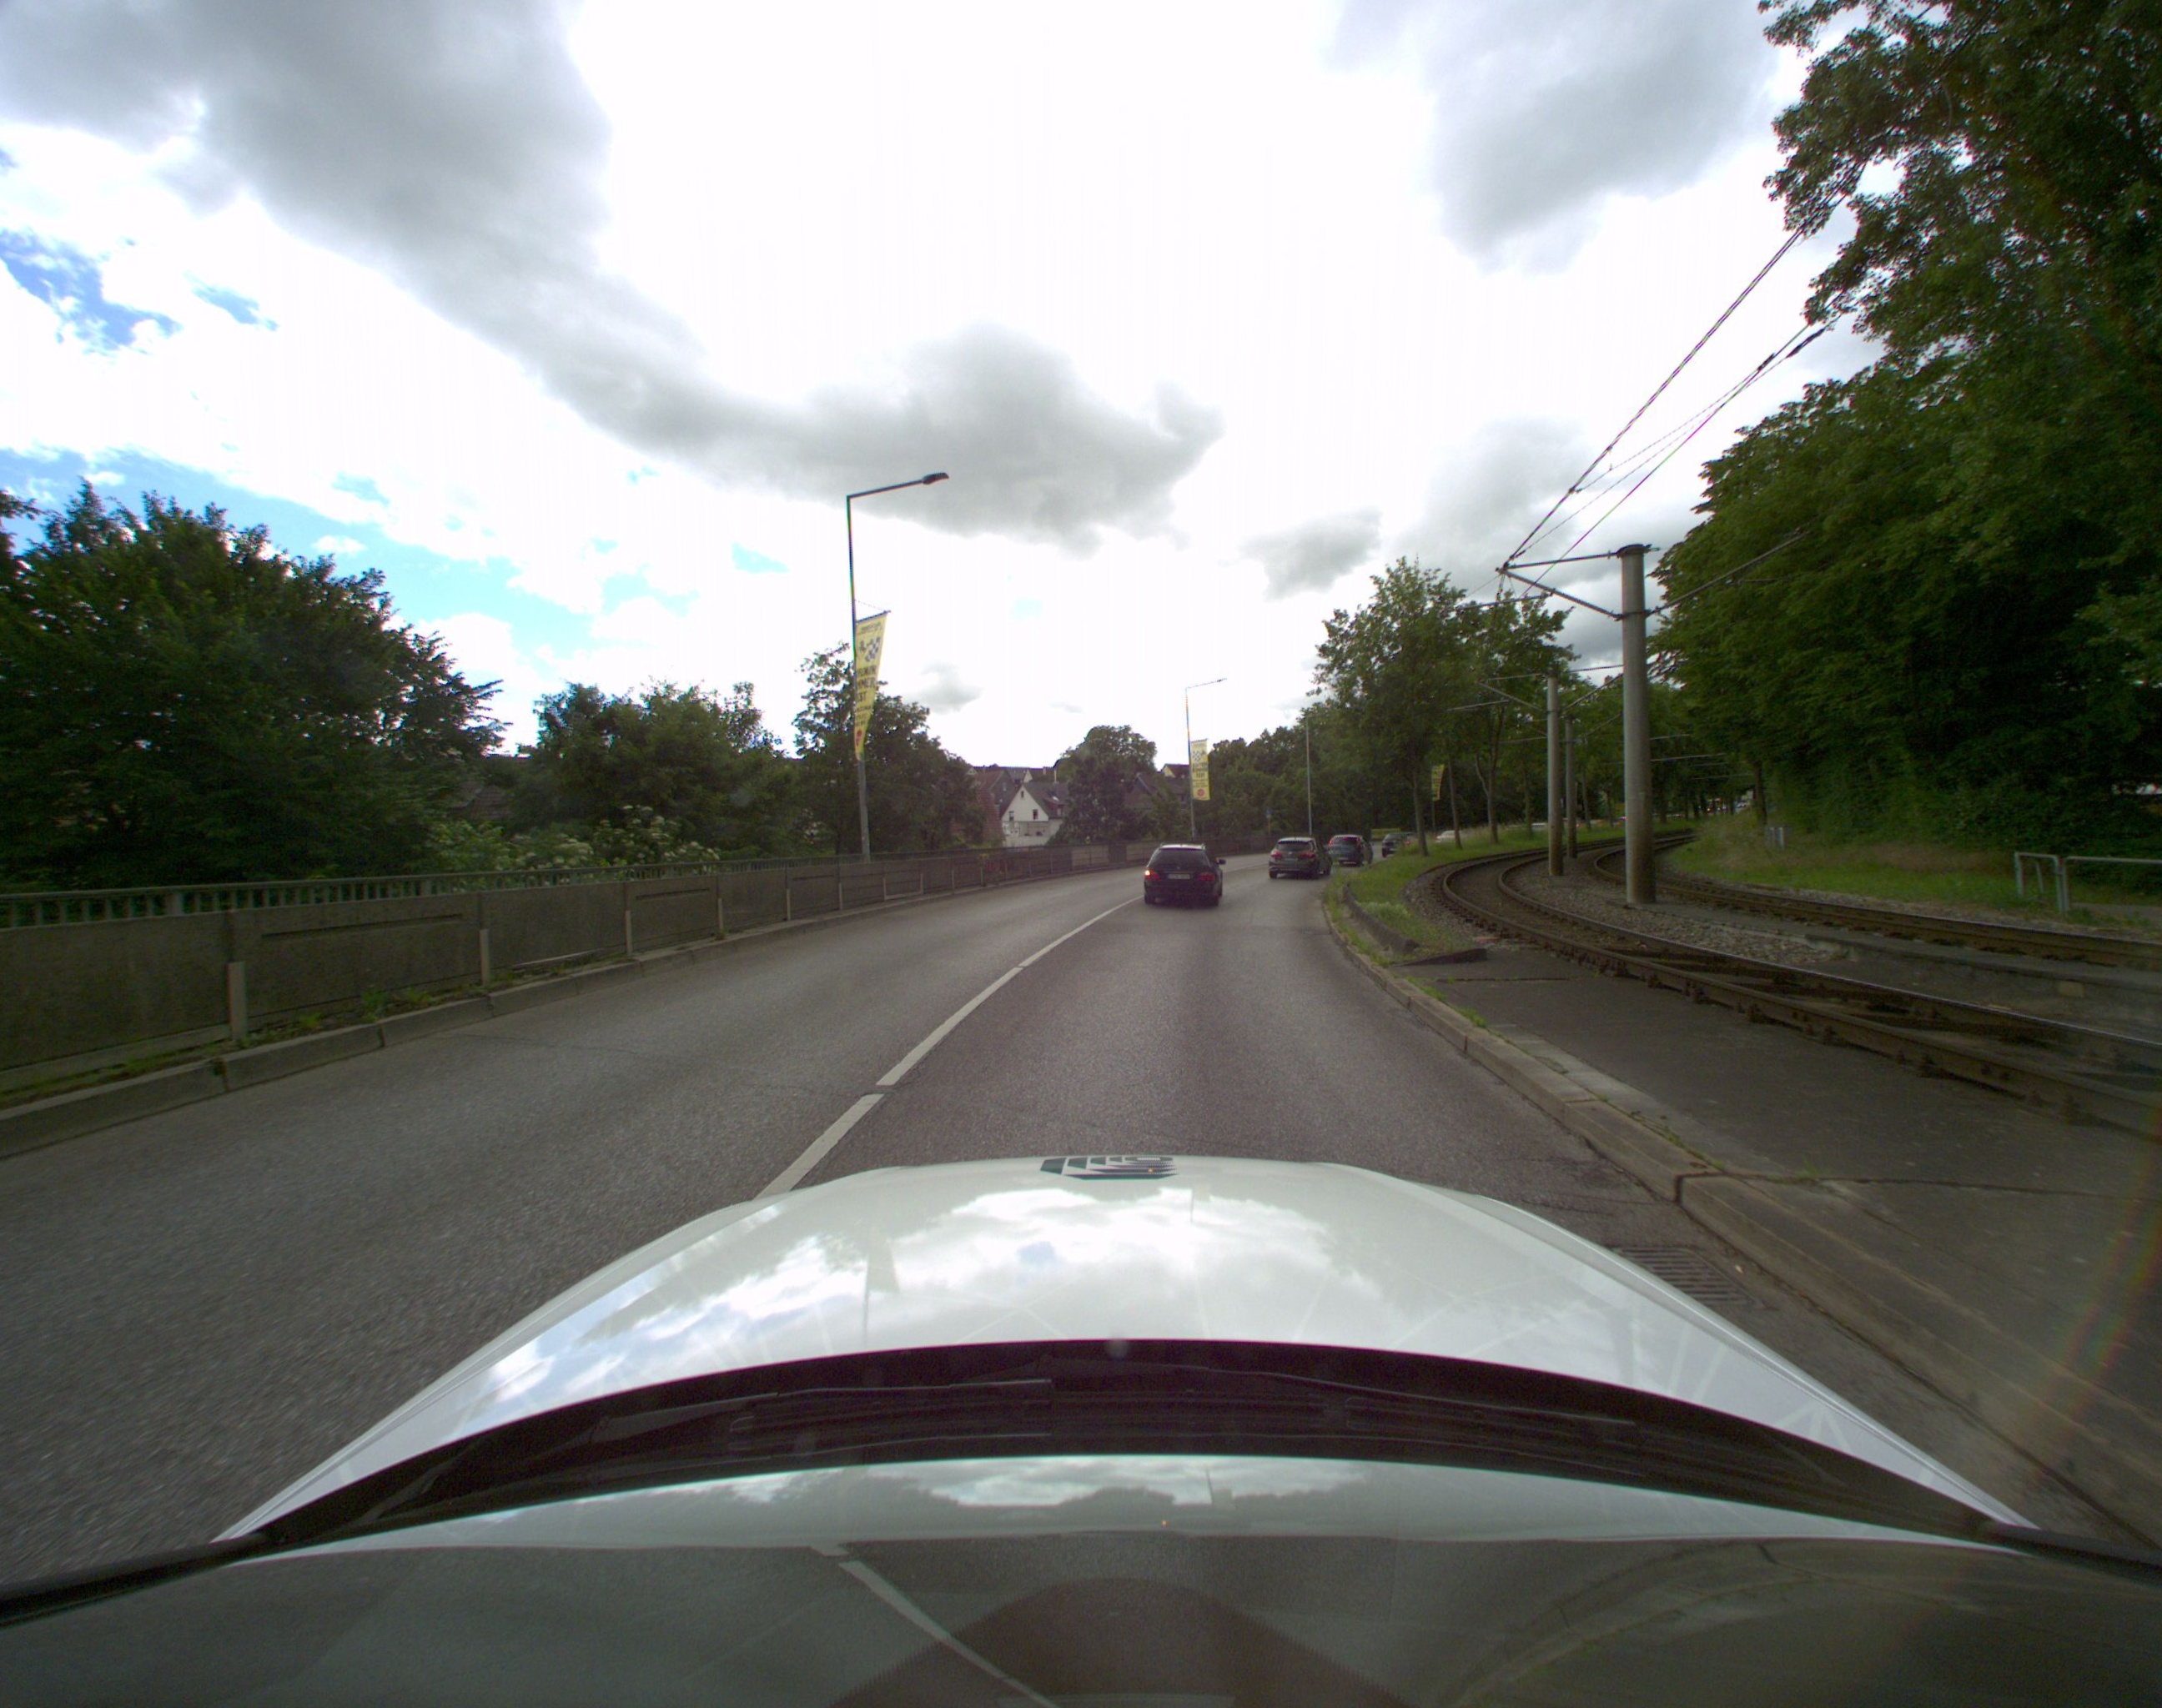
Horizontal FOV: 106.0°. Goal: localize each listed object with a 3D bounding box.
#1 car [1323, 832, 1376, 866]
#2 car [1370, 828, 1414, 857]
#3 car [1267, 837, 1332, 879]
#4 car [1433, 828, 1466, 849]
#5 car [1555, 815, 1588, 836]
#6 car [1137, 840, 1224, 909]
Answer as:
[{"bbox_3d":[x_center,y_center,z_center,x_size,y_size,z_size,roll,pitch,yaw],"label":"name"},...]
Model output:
[{"bbox_3d":[13.033,-0.267,39.362,1.875,1.574,4.024,0,1,27],"label":"car"},{"bbox_3d":[18.143,-0.689,47.405,1.562,1.538,4.026,-2,0,32],"label":"car"},{"bbox_3d":[8.435,0.103,31.250,1.759,1.494,4.023,1,1,24],"label":"car"},{"bbox_3d":[25.774,-1.102,56.945,1.486,1.364,3.610,-2,0,34],"label":"car"},{"bbox_3d":[47.995,-2.779,79.651,1.910,1.859,4.024,-2,1,44],"label":"car"},{"bbox_3d":[2.656,0.422,20.841,1.839,1.485,4.436,1,2,12],"label":"car"}]
